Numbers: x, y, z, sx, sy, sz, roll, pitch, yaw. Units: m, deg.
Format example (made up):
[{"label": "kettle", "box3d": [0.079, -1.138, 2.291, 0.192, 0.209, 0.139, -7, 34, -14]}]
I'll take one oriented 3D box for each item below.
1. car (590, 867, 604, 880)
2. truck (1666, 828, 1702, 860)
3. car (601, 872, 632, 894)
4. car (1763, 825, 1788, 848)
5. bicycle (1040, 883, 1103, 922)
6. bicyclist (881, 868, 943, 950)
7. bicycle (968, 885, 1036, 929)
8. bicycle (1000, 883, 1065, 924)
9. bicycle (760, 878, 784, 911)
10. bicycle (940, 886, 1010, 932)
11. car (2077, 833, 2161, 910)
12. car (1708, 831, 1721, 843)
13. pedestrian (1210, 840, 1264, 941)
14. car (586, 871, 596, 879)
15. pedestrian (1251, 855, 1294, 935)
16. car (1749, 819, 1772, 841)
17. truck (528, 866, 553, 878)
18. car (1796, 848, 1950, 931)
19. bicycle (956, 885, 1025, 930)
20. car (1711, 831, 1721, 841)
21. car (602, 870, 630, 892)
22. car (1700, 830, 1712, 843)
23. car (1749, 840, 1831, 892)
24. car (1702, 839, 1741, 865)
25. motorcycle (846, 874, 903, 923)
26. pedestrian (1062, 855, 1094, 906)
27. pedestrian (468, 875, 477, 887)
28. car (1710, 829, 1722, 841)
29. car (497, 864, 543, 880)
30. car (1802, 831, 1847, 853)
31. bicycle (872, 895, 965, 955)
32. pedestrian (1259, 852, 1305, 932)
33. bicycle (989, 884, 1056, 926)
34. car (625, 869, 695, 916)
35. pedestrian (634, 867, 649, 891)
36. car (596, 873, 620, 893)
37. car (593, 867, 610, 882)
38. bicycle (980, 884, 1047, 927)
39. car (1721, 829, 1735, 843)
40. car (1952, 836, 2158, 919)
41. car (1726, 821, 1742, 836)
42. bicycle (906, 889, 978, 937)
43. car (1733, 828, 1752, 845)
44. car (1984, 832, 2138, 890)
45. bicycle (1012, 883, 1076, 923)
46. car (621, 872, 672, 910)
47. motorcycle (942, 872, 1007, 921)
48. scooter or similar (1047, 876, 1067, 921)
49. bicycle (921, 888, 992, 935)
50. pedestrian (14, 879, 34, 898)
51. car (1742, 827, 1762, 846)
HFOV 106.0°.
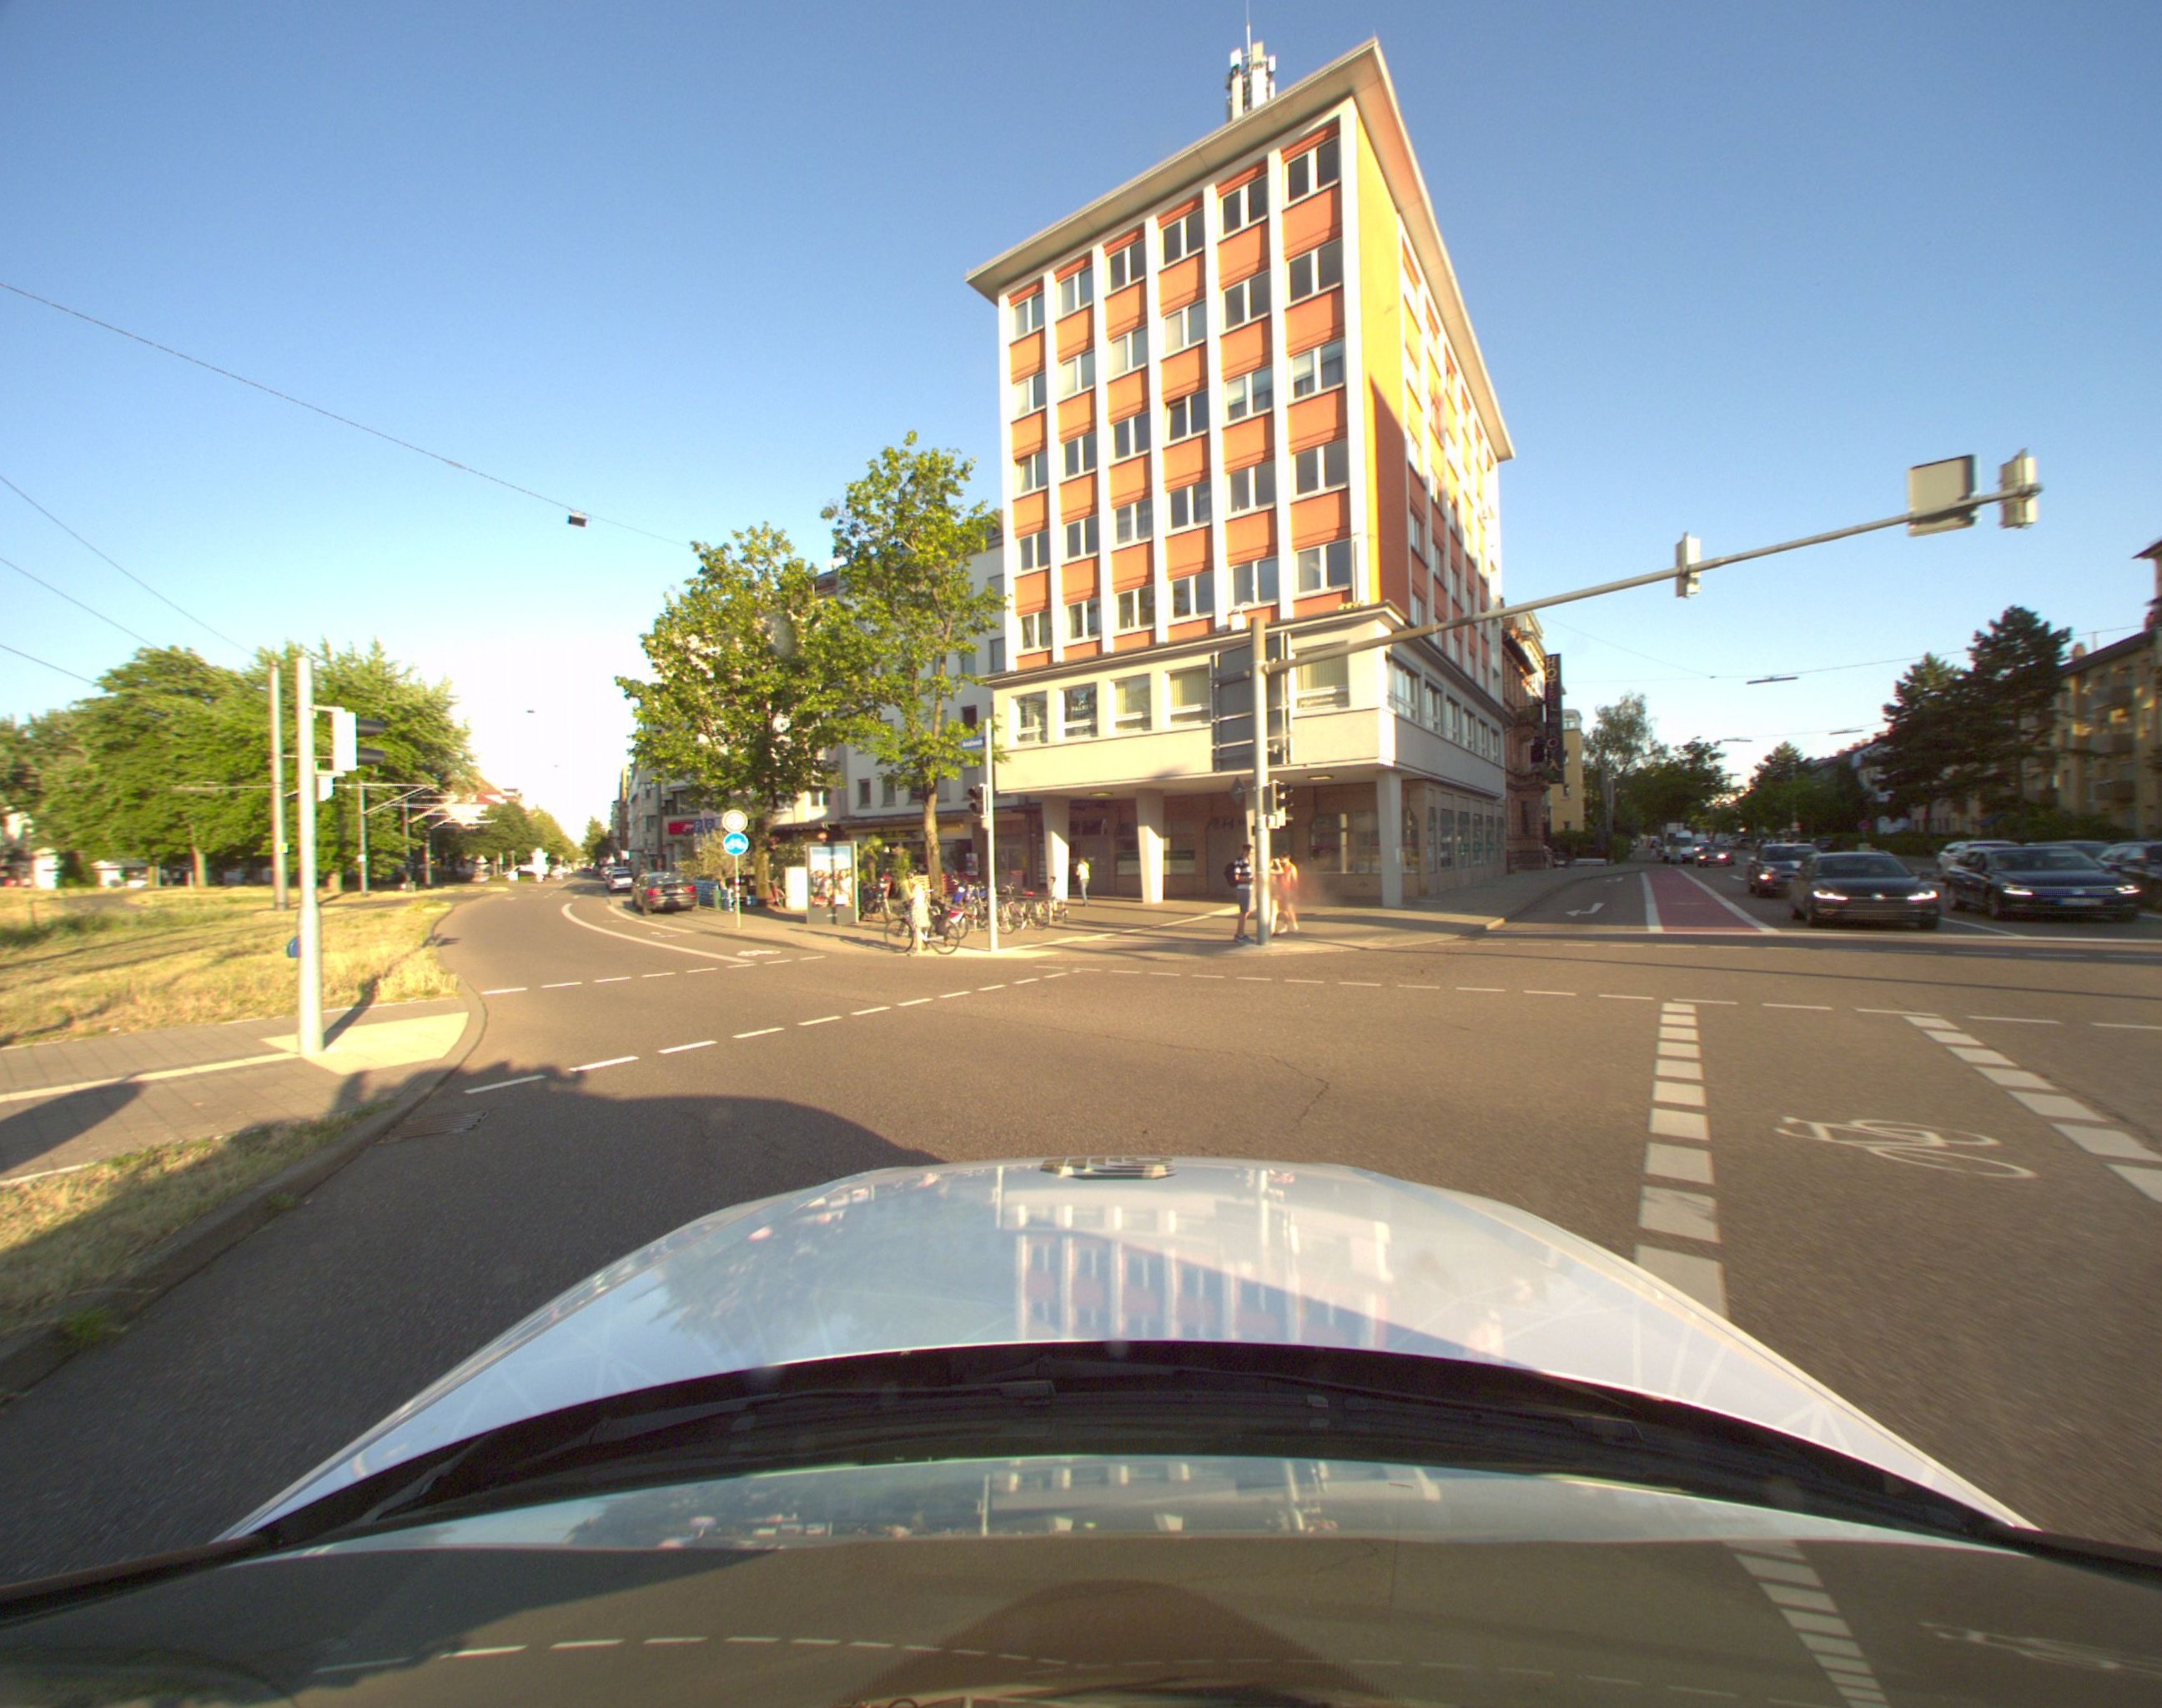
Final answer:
[{"label": "car", "box3d": [-69.648, 2.809, 117.273, 1.721, 1.835, 4.263, 0, -1, -31]}, {"label": "truck", "box3d": [45.392, -0.763, 61.251, 1.974, 2.343, 4.025, -1, 0, 39]}, {"label": "car", "box3d": [-32.696, 1.994, 57.319, 1.796, 1.456, 3.961, -1, 0, -30]}, {"label": "car", "box3d": [80.260, -2.008, 94.123, 1.974, 2.520, 4.025, -1, -1, 37]}, {"label": "bicycle", "box3d": [-0.278, 1.341, 22.681, 1.772, 1.027, 0.367, -1, -1, 28]}, {"label": "bicyclist", "box3d": [-3.171, 1.002, 15.322, 0.796, 1.480, 0.803, -1, -1, 28]}, {"label": "bicycle", "box3d": [-1.979, 1.299, 20.174, 1.771, 1.027, 0.363, -1, -1, 29]}, {"label": "bicycle", "box3d": [-1.278, 1.278, 21.246, 1.772, 1.027, 0.367, -1, -1, 28]}, {"label": "bicycle", "box3d": [-12.040, 1.545, 31.695, 0.449, 1.210, 2.061, 0, -1, -33]}, {"label": "bicycle", "box3d": [-2.532, 1.300, 19.365, 1.771, 1.027, 0.363, -1, -1, 29]}, {"label": "car", "box3d": [23.267, 0.340, 17.483, 1.638, 1.522, 4.208, -1, -1, 41]}, {"label": "car", "box3d": [136.331, -3.661, 175.257, 1.974, 2.520, 4.025, -1, -1, 37]}, {"label": "pedestrian", "box3d": [3.112, 0.713, 16.235, 0.837, 1.957, 0.706, -2, 0, 26]}, {"label": "car", "box3d": [-107.817, 4.577, 179.090, 1.588, 1.542, 3.360, -3, 0, -34]}, {"label": "pedestrian", "box3d": [4.043, 0.851, 17.193, 0.698, 1.644, 0.521, -2, 0, 38]}, {"label": "car", "box3d": [86.054, -3.020, 103.140, 1.974, 2.520, 4.025, -1, -1, 37]}, {"label": "truck", "box3d": [-128.051, 4.271, 192.948, 4.975, 2.615, 1.979, -1, -1, -33]}, {"label": "car", "box3d": [15.578, 0.617, 16.238, 1.907, 1.426, 4.216, -2, -1, 41]}, {"label": "bicycle", "box3d": [-2.208, 1.289, 19.800, 1.772, 1.027, 0.371, -1, -1, 28]}, {"label": "car", "box3d": [161.859, -4.506, 207.514, 1.974, 2.520, 4.025, -1, -1, 37]}, {"label": "car", "box3d": [-35.320, 2.015, 61.816, 1.596, 1.591, 3.630, 0, -1, -33]}, {"label": "car", "box3d": [126.831, -3.455, 165.243, 1.974, 2.520, 4.025, -1, -1, 37]}, {"label": "car", "box3d": [21.792, 0.339, 25.087, 1.781, 1.451, 3.949, -1, 0, 41]}, {"label": "car", "box3d": [40.354, -0.134, 51.298, 1.719, 1.576, 4.135, -1, -1, 41]}, {"label": "motorcycle", "box3d": [-6.016, 1.255, 23.660, 0.646, 1.344, 2.175, 0, -1, -43]}, {"label": "pedestrian", "box3d": [-0.102, 0.909, 28.441, 0.866, 1.725, 0.660, -1, -1, 33]}, {"label": "pedestrian", "box3d": [-74.065, 3.306, 99.126, 0.562, 1.364, 0.613, 0, -1, -7]}, {"label": "car", "box3d": [141.134, -4.251, 181.124, 1.974, 2.520, 4.025, -1, -1, 37]}, {"label": "car", "box3d": [-77.195, 2.470, 112.140, 2.175, 2.251, 4.642, -1, -1, 32]}, {"label": "car", "box3d": [63.028, -1.016, 69.097, 1.974, 1.785, 4.025, -1, -1, 29]}, {"label": "bicycle", "box3d": [-3.065, 1.312, 15.288, 1.772, 1.027, 0.519, -1, -1, 28]}, {"label": "pedestrian", "box3d": [4.364, 0.811, 17.680, 0.762, 1.693, 0.521, -2, 0, 39]}, {"label": "bicycle", "box3d": [-1.508, 1.282, 20.857, 1.772, 1.027, 0.367, -1, -1, 28]}, {"label": "car", "box3d": [-16.623, 1.441, 32.029, 1.818, 1.670, 4.761, 0, -1, -35]}, {"label": "pedestrian", "box3d": [-32.259, 1.832, 59.768, 0.846, 1.786, 0.645, -1, -1, 35]}, {"label": "car", "box3d": [-38.740, 2.359, 66.655, 1.651, 1.528, 3.960, 0, -1, -31]}, {"label": "car", "box3d": [-60.188, 2.624, 102.183, 1.804, 1.792, 4.051, -1, -1, -31]}, {"label": "bicycle", "box3d": [-1.717, 1.292, 20.529, 1.771, 1.027, 0.363, -1, -1, 29]}, {"label": "car", "box3d": [121.466, -3.276, 152.947, 1.974, 2.520, 4.025, -1, -1, 37]}, {"label": "car", "box3d": [19.610, 0.455, 16.638, 1.974, 1.468, 4.269, -3, -2, 41]}, {"label": "car", "box3d": [112.803, -4.356, 140.768, 1.974, 2.520, 4.025, -1, -1, 37]}, {"label": "bicycle", "box3d": [-3.172, 1.318, 18.506, 1.771, 1.027, 0.363, -1, -1, 29]}, {"label": "car", "box3d": [97.636, -2.553, 120.285, 1.974, 2.520, 4.025, -1, -1, 37]}, {"label": "car", "box3d": [27.844, 0.184, 23.320, 1.683, 1.495, 4.568, -1, 0, 36]}, {"label": "bicycle", "box3d": [-0.994, 1.293, 21.694, 1.772, 1.027, 0.367, -1, -1, 28]}, {"label": "car", "box3d": [-19.354, 1.575, 36.190, 1.662, 1.534, 4.024, 0, -1, -33]}, {"label": "motorcycle", "box3d": [-3.109, 1.225, 24.014, 0.635, 1.354, 2.162, -1, -1, 34]}, {"label": "scooter or similar", "box3d": [-0.740, 1.323, 24.584, 0.308, 1.263, 1.519, 0, -1, -13]}, {"label": "bicycle", "box3d": [-2.904, 1.311, 18.879, 1.771, 1.027, 0.363, -1, -1, 29]}, {"label": "pedestrian", "box3d": [-103.686, 3.367, 79.912, 0.867, 1.840, 0.986, 0, 1, -31]}, {"label": "car", "box3d": [90.898, -2.362, 110.357, 1.974, 2.520, 4.025, -1, -1, 37]}]
